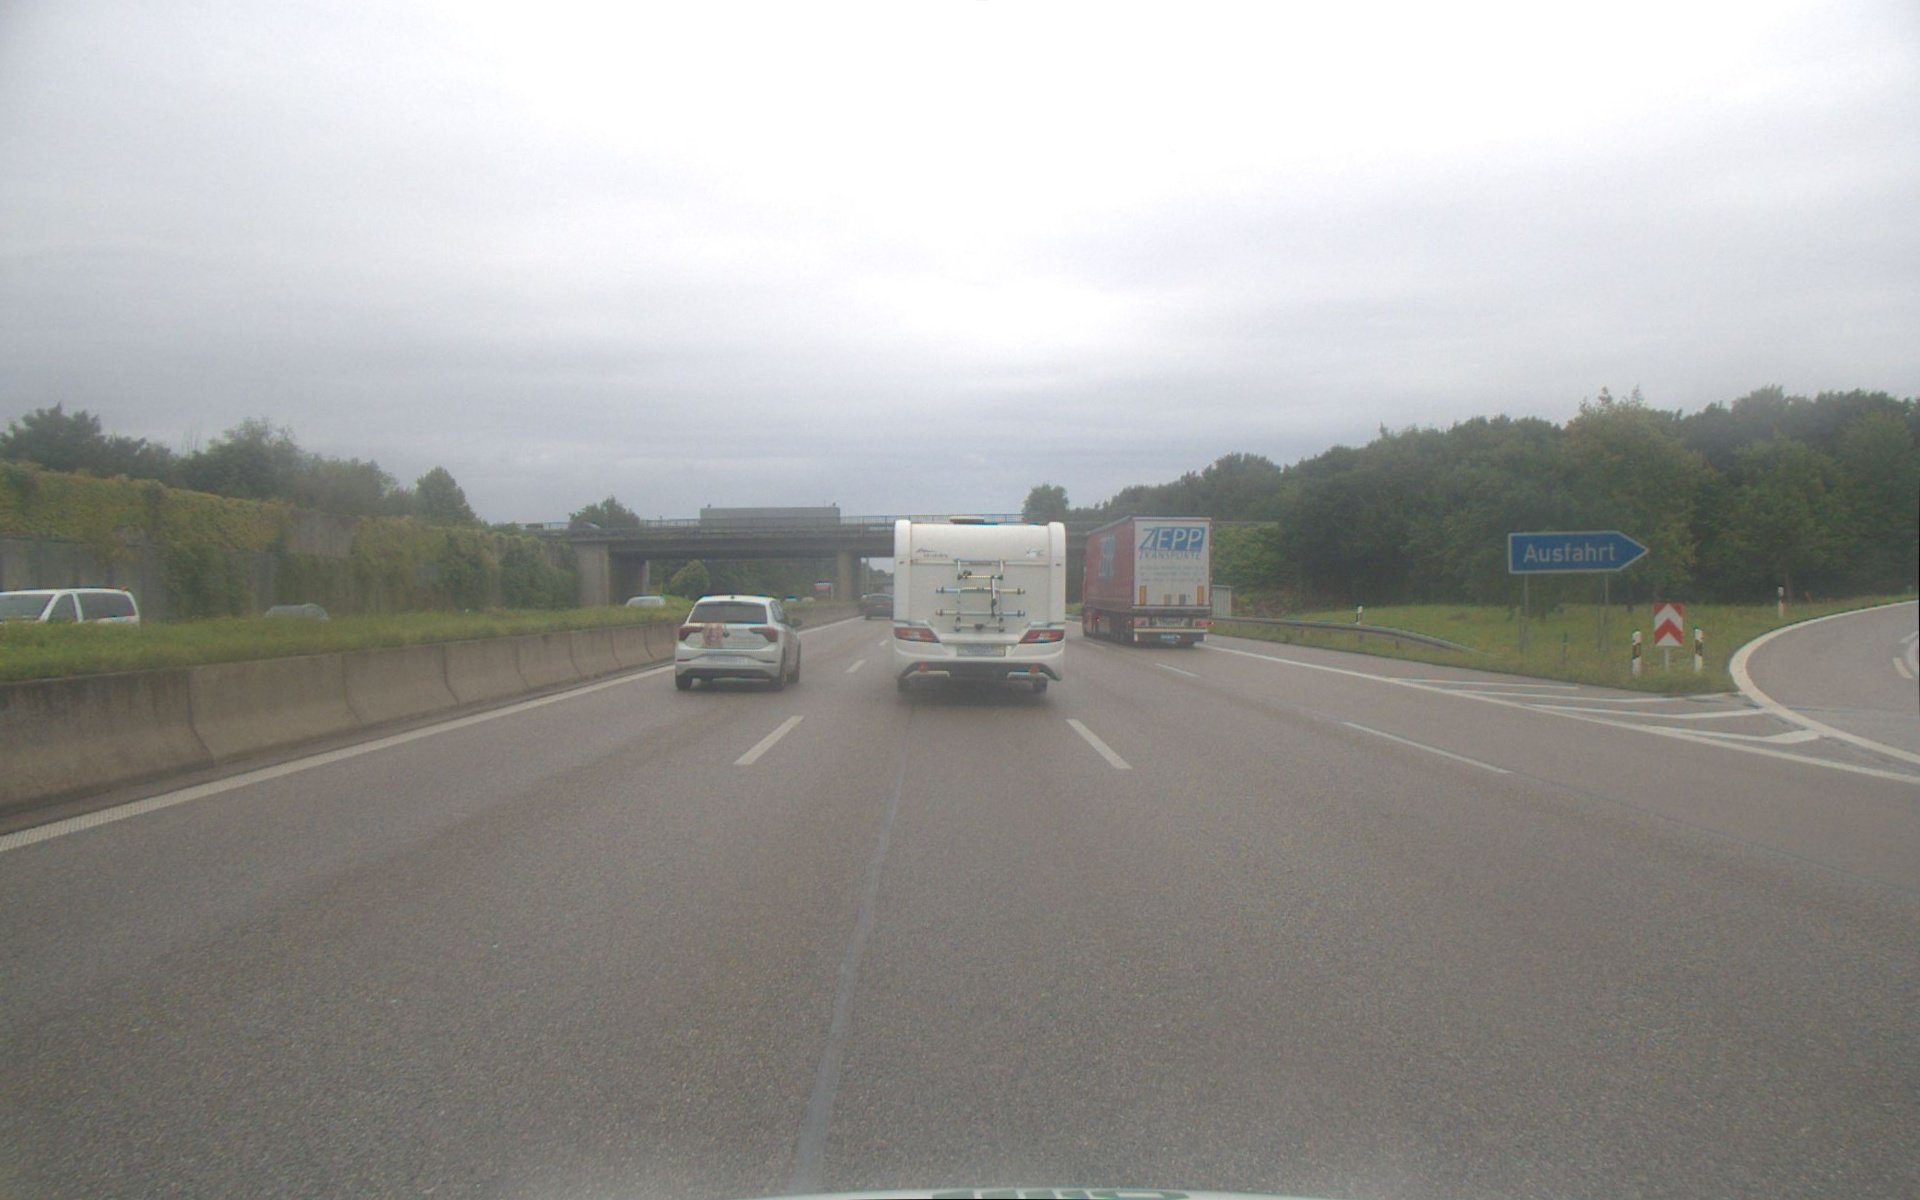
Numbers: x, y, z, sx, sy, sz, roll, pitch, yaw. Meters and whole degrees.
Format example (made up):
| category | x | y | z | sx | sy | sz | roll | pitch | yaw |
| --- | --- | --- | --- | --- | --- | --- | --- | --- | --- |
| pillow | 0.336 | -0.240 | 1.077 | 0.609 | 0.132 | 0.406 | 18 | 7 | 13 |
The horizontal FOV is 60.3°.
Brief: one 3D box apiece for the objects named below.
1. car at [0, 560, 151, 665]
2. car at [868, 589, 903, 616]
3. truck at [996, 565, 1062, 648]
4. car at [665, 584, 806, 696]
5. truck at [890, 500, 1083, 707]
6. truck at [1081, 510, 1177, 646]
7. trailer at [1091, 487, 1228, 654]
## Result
| category | x | y | z | sx | sy | sz | roll | pitch | yaw |
| --- | --- | --- | --- | --- | --- | --- | --- | --- | --- |
| car | -19.309 | 0.241 | 34.936 | 1.953 | 2.049 | 5.225 | 1 | 0 | -2 |
| car | -4.708 | 0.185 | 105.434 | 1.952 | 1.628 | 5.123 | 1 | 0 | 0 |
| truck | 2.433 | 0.235 | 59.656 | 2.011 | 2.818 | 5.547 | 1 | 0 | -1 |
| car | -3.555 | 0.584 | 26.960 | 1.717 | 1.646 | 4.663 | 0 | 0 | -1 |
| truck | 0.320 | 0.056 | 25.146 | 2.607 | 2.790 | 5.076 | 1 | 0 | -1 |
| truck | 6.433 | -0.797 | 63.617 | 2.986 | 4.924 | 5.849 | 1 | 0 | 0 |
| trailer | 6.517 | -0.869 | 56.161 | 3.037 | 5.008 | 11.788 | 1 | 0 | -1 |
